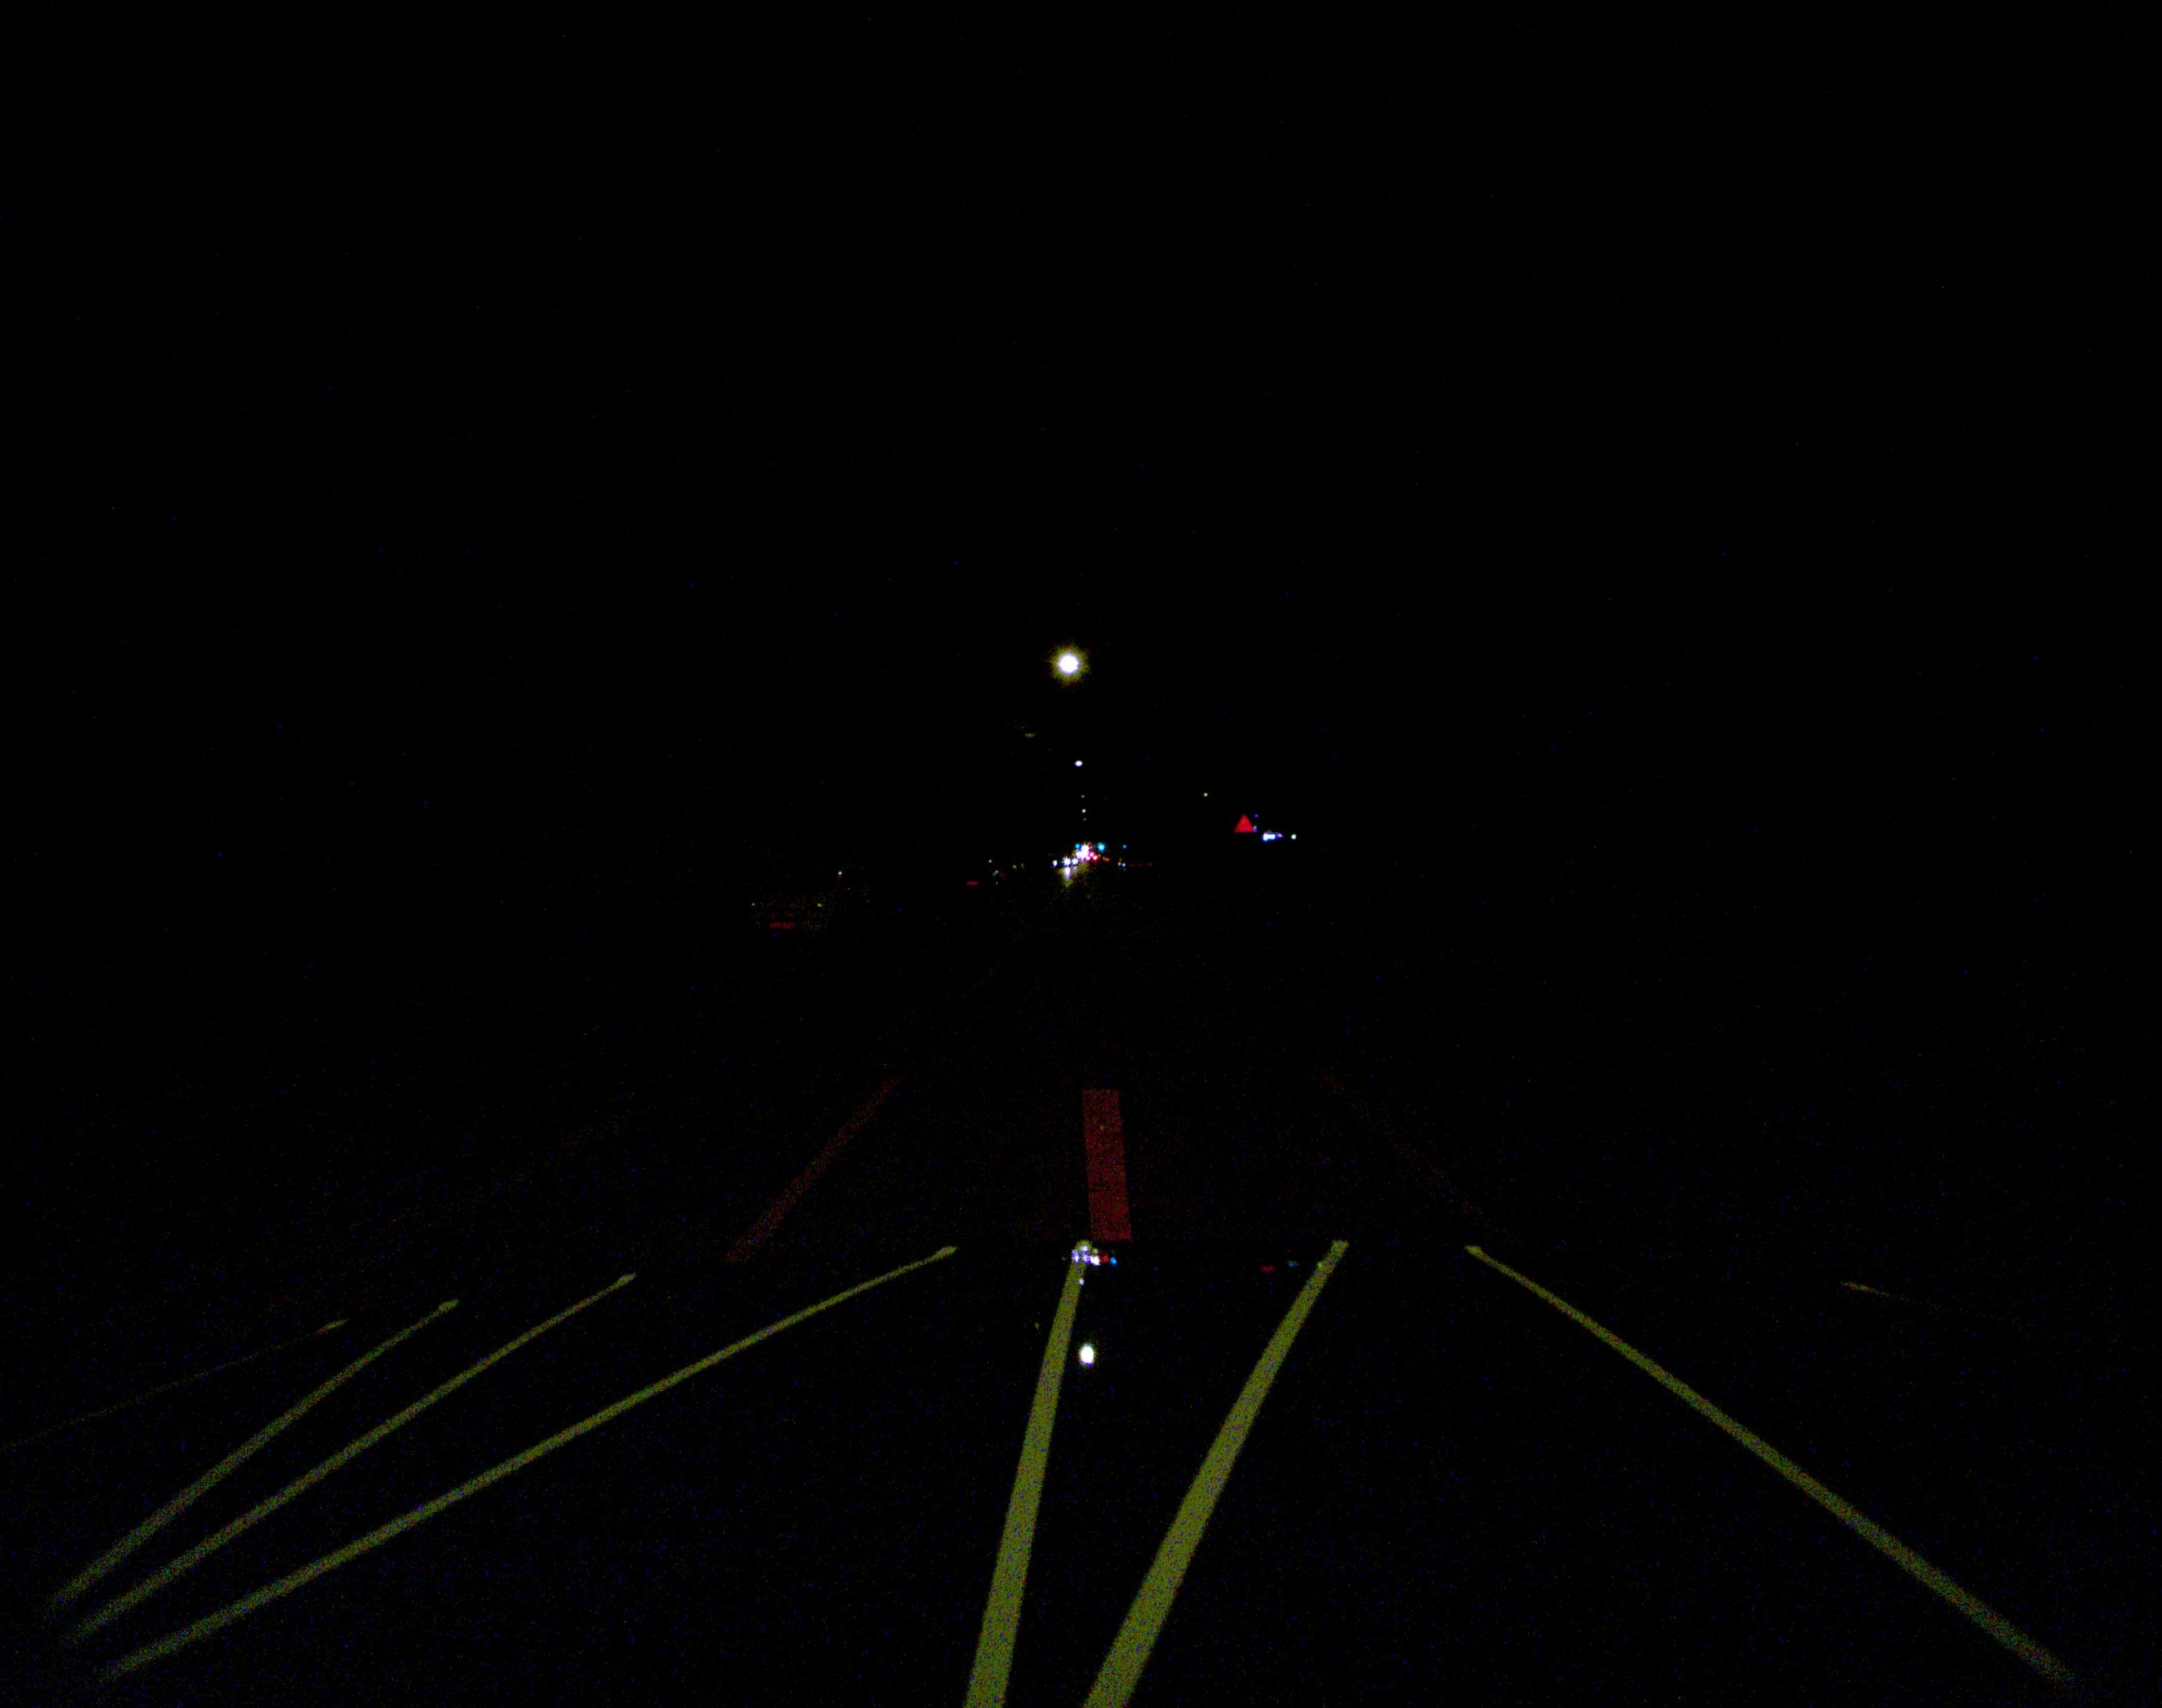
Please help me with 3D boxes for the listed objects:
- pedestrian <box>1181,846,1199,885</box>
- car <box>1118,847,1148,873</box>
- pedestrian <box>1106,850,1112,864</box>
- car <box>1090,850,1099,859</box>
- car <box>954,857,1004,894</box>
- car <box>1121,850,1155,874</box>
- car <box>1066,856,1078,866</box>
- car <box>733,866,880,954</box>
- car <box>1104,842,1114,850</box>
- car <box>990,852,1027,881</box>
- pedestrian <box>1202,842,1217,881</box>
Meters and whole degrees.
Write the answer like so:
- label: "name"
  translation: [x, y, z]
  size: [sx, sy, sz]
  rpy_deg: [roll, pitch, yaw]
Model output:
- label: "pedestrian"
  translation: [4.931, 0.507, 34.384]
  size: [0.673, 1.750, 0.500]
  rpy_deg: [-2, 1, 1]
- label: "car"
  translation: [3.862, 0.393, 56.914]
  size: [1.998, 1.772, 3.999]
  rpy_deg: [-2, 1, 1]
- label: "pedestrian"
  translation: [4.385, 0.455, 117.982]
  size: [0.804, 2.002, 0.940]
  rpy_deg: [-2, 1, 1]
- label: "car"
  translation: [2.527, 0.156, 142.087]
  size: [1.754, 1.433, 3.487]
  rpy_deg: [-2, -2, 1]
- label: "car"
  translation: [-4.475, 0.893, 33.940]
  size: [1.742, 1.489, 3.890]
  rpy_deg: [-1, 0, -1]
- label: "car"
  translation: [3.882, 0.500, 52.074]
  size: [1.998, 1.477, 3.999]
  rpy_deg: [-3, 1, 1]
- label: "car"
  translation: [-1.545, 1.220, 134.430]
  size: [1.998, 1.718, 3.803]
  rpy_deg: [-2, 1, 1]
- label: "car"
  translation: [-5.277, 1.010, 15.078]
  size: [1.611, 1.500, 3.486]
  rpy_deg: [0, 0, 1]
- label: "car"
  translation: [5.663, -1.612, 153.914]
  size: [1.903, 1.581, 3.661]
  rpy_deg: [-2, 1, 2]
- label: "car"
  translation: [-4.467, 0.738, 47.473]
  size: [1.852, 1.643, 4.179]
  rpy_deg: [-2, 0, 0]
- label: "pedestrian"
  translation: [5.915, 0.338, 34.911]
  size: [0.565, 1.750, 0.500]
  rpy_deg: [-2, 1, 1]
